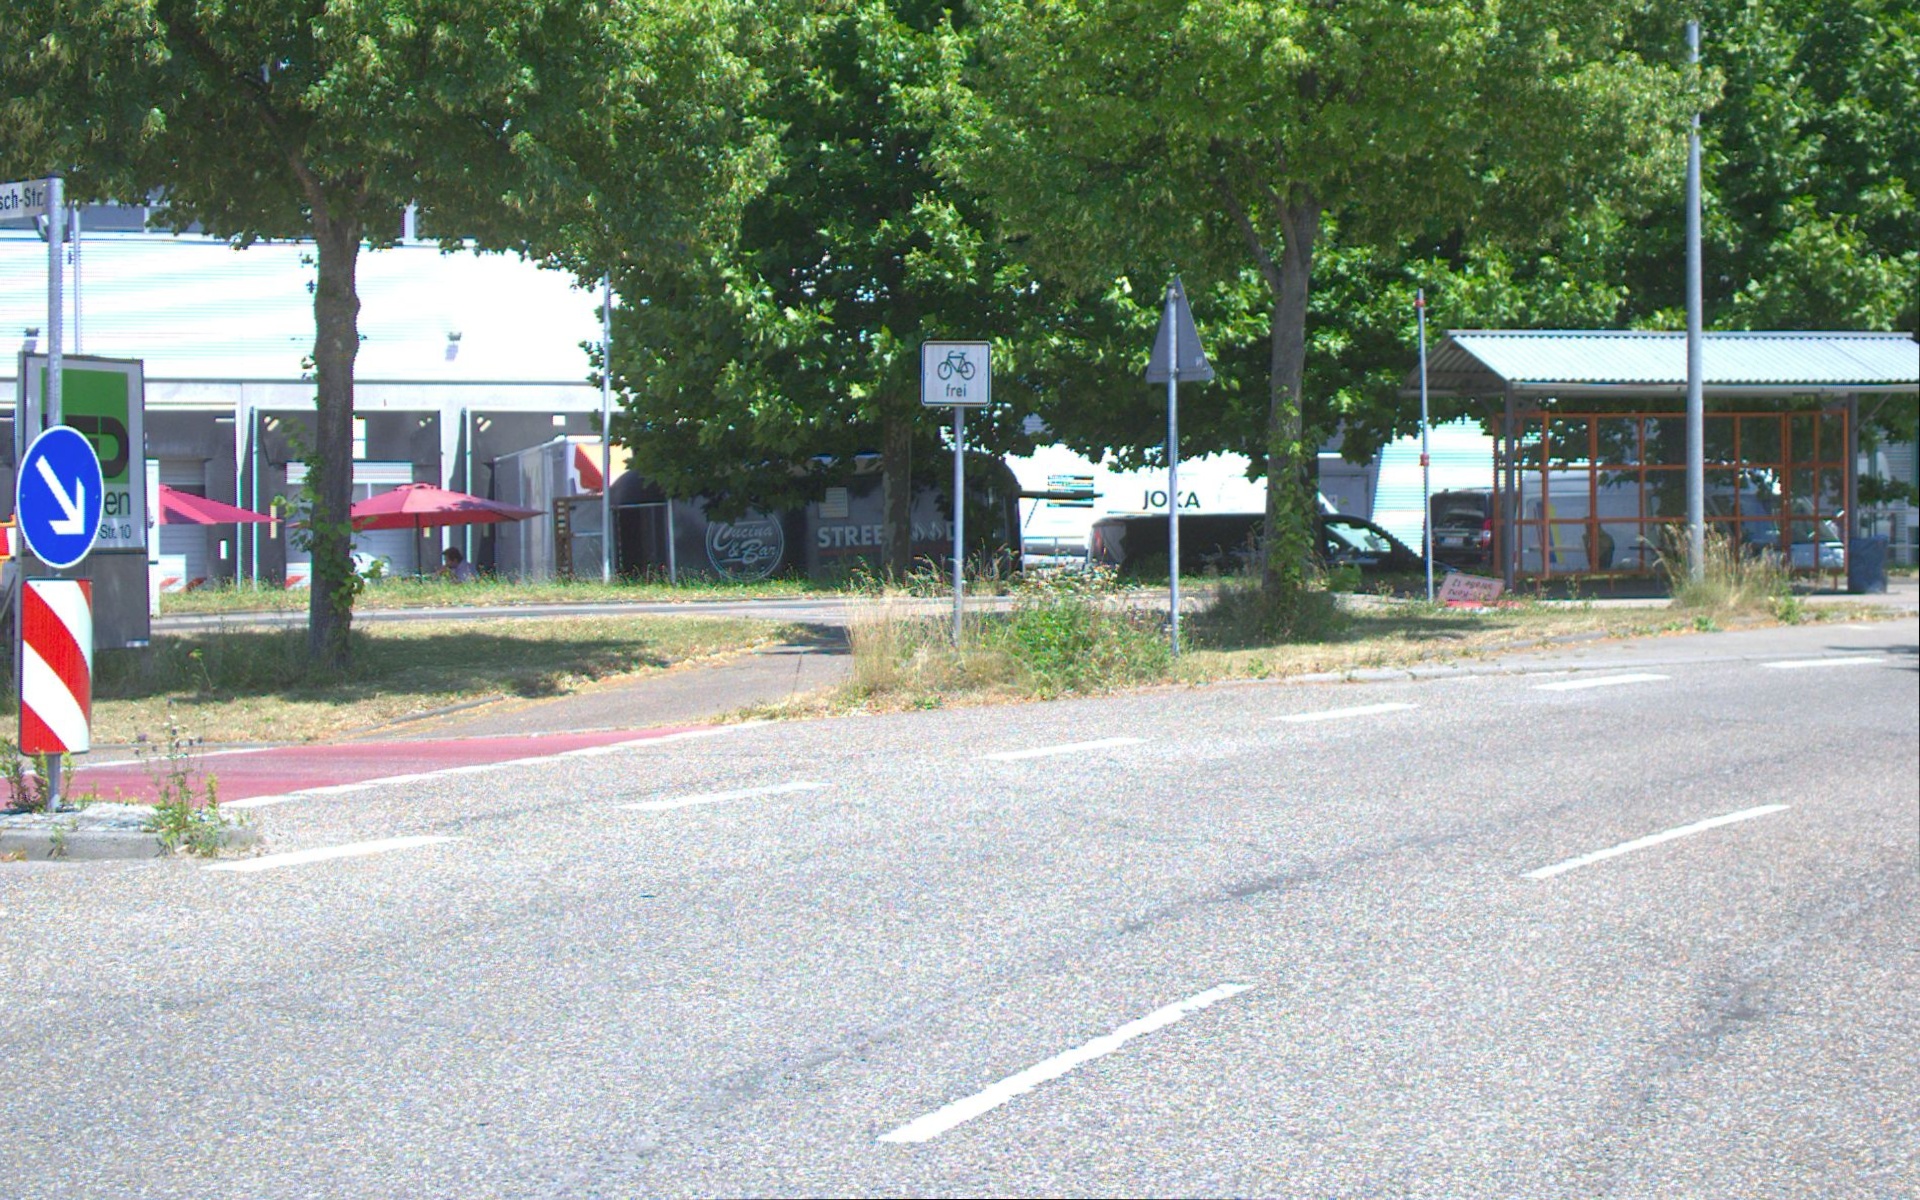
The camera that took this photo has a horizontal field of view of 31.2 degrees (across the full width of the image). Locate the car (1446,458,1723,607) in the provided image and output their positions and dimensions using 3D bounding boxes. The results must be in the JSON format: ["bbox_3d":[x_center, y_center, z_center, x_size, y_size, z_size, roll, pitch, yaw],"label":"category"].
[{"bbox_3d":[8.913,-0.933,49.369,1.543,2.007,4.265,1,-1,-29],"label":"car"}]

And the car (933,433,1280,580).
[{"bbox_3d":[1.842,-1.183,43.614,3.986,1.722,1.841,-2,1,-16],"label":"car"}]

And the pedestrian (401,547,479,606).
[{"bbox_3d":[-6.427,-0.291,42.529,0.864,0.693,0.408,-1,1,6],"label":"pedestrian"}]
